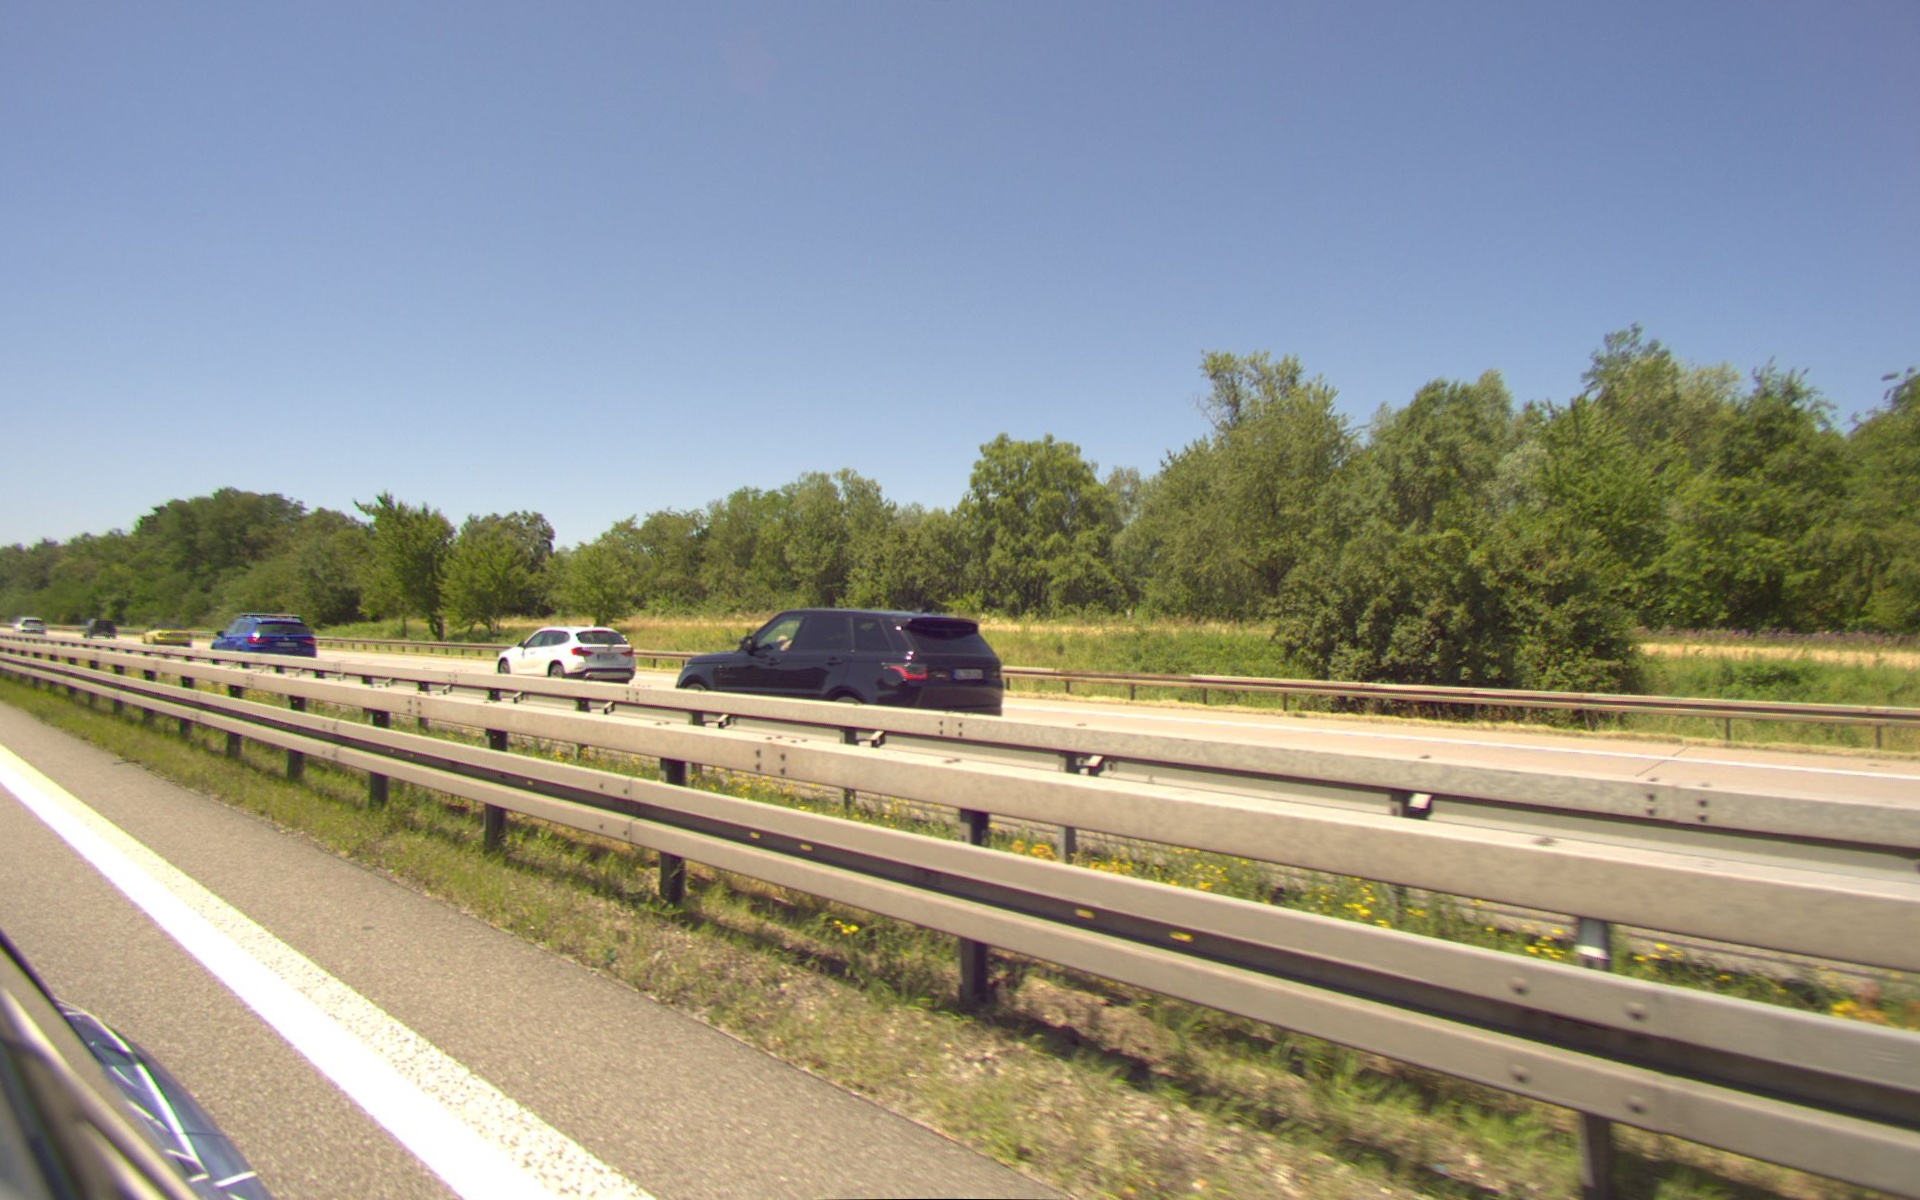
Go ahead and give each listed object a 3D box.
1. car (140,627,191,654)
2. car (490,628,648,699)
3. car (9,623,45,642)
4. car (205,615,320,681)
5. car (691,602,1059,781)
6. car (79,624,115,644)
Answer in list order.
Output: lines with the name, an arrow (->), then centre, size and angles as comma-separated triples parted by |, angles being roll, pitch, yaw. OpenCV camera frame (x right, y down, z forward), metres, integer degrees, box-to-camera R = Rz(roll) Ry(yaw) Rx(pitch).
car -> -43.902, 2.237, 55.876 | 3.475, 1.439, 1.565 | -1, -3, 41
car -> -9.587, 1.488, 24.687 | 4.190, 1.578, 1.859 | -1, -3, 41
car -> -79.760, 2.781, 86.499 | 3.887, 1.597, 1.816 | -1, -4, 41
car -> -19.944, 1.340, 28.885 | 3.984, 1.764, 1.749 | -1, -3, 41
car -> -1.165, 0.976, 12.350 | 4.441, 1.785, 1.939 | -1, -3, 41
car -> -72.818, 2.894, 85.400 | 3.900, 1.606, 1.714 | -1, -4, 41
